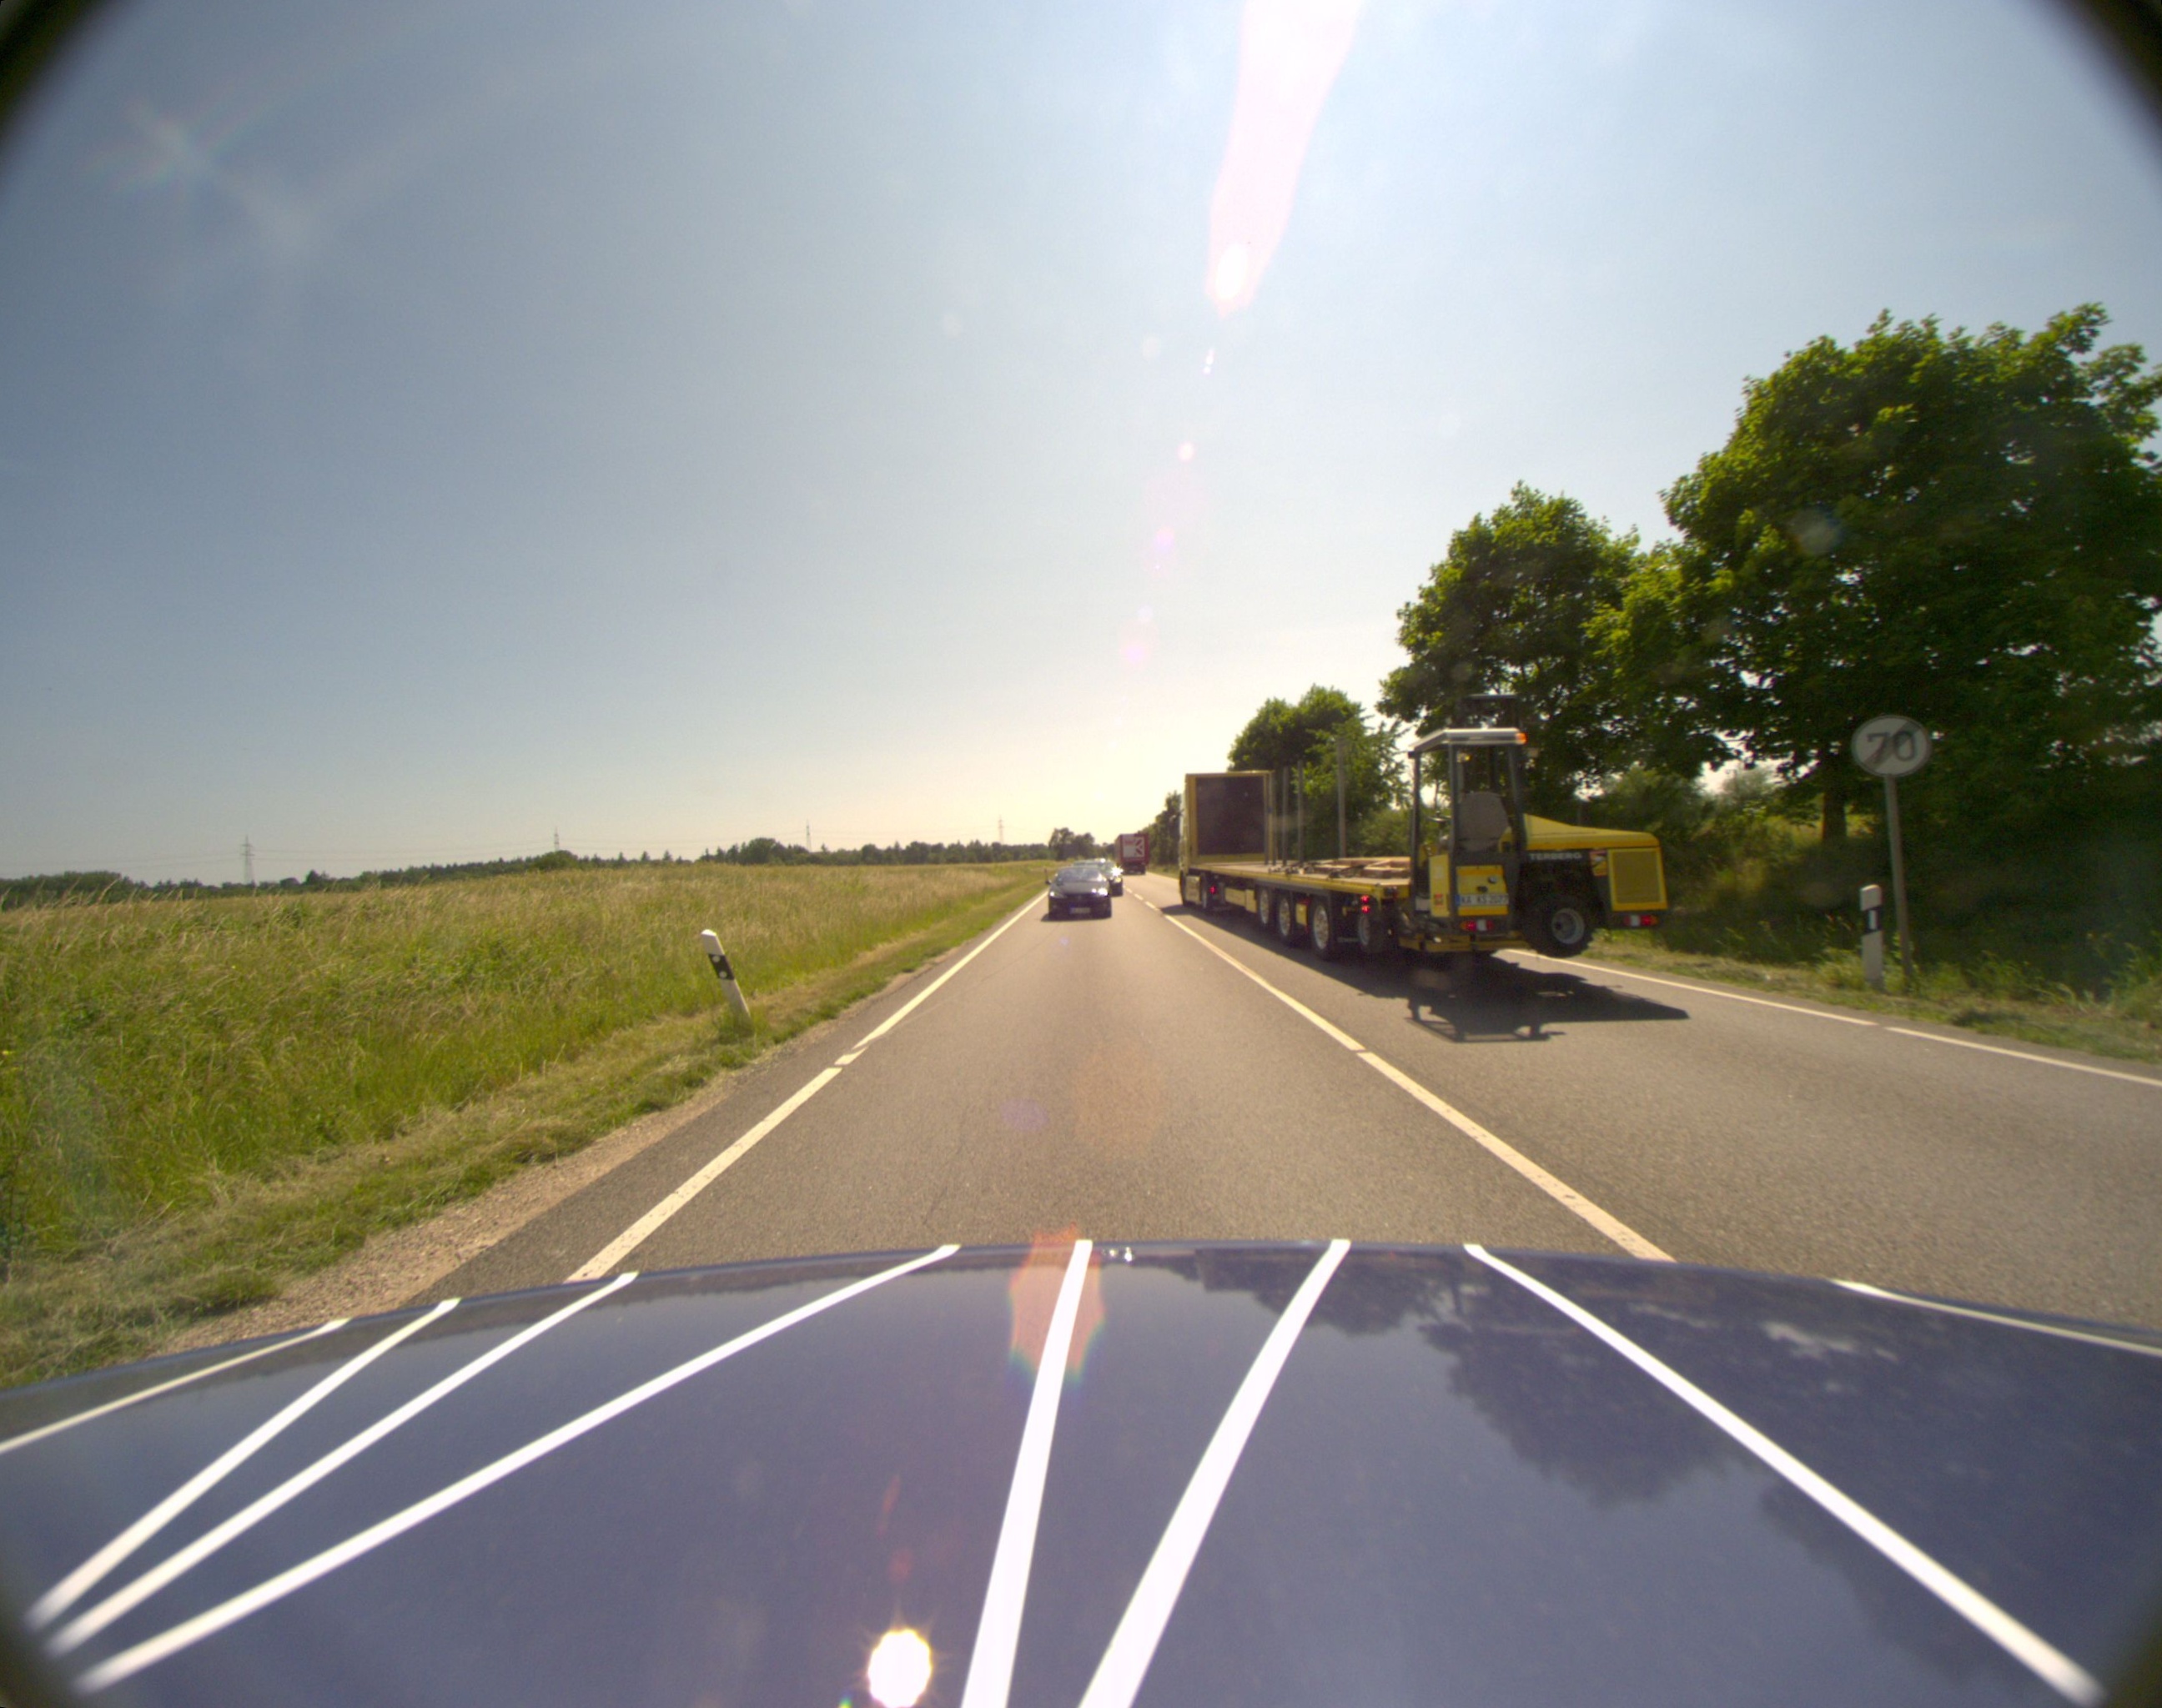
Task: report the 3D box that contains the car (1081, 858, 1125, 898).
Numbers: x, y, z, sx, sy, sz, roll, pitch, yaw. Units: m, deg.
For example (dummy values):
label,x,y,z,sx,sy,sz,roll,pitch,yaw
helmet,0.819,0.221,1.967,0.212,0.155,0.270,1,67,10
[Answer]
label,x,y,z,sx,sy,sz,roll,pitch,yaw
car,0.925,0.948,31.529,1.665,1.477,3.732,-2,0,2

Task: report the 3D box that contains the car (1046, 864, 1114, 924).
label,x,y,z,sx,sy,sz,roll,pitch,yaw
car,-0.007,1.034,21.066,1.665,1.389,3.731,-2,0,1

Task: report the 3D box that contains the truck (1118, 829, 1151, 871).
label,x,y,z,sx,sy,sz,roll,pitch,yaw
truck,5.065,-0.375,73.590,2.769,3.711,10.548,-2,0,2

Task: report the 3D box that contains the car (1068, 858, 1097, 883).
label,x,y,z,sx,sy,sz,roll,pitch,yaw
car,0.135,1.057,49.352,1.665,1.449,4.173,-2,0,2

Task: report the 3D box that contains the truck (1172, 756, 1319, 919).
label,x,y,z,sx,sy,sz,roll,pitch,yaw
truck,4.388,-0.394,21.588,2.709,3.908,5.952,-2,0,-1

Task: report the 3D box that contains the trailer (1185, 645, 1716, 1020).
label,x,y,z,sx,sy,sz,roll,pitch,yaw
trailer,4.496,-0.169,14.591,2.669,3.440,14.948,-2,0,-1
